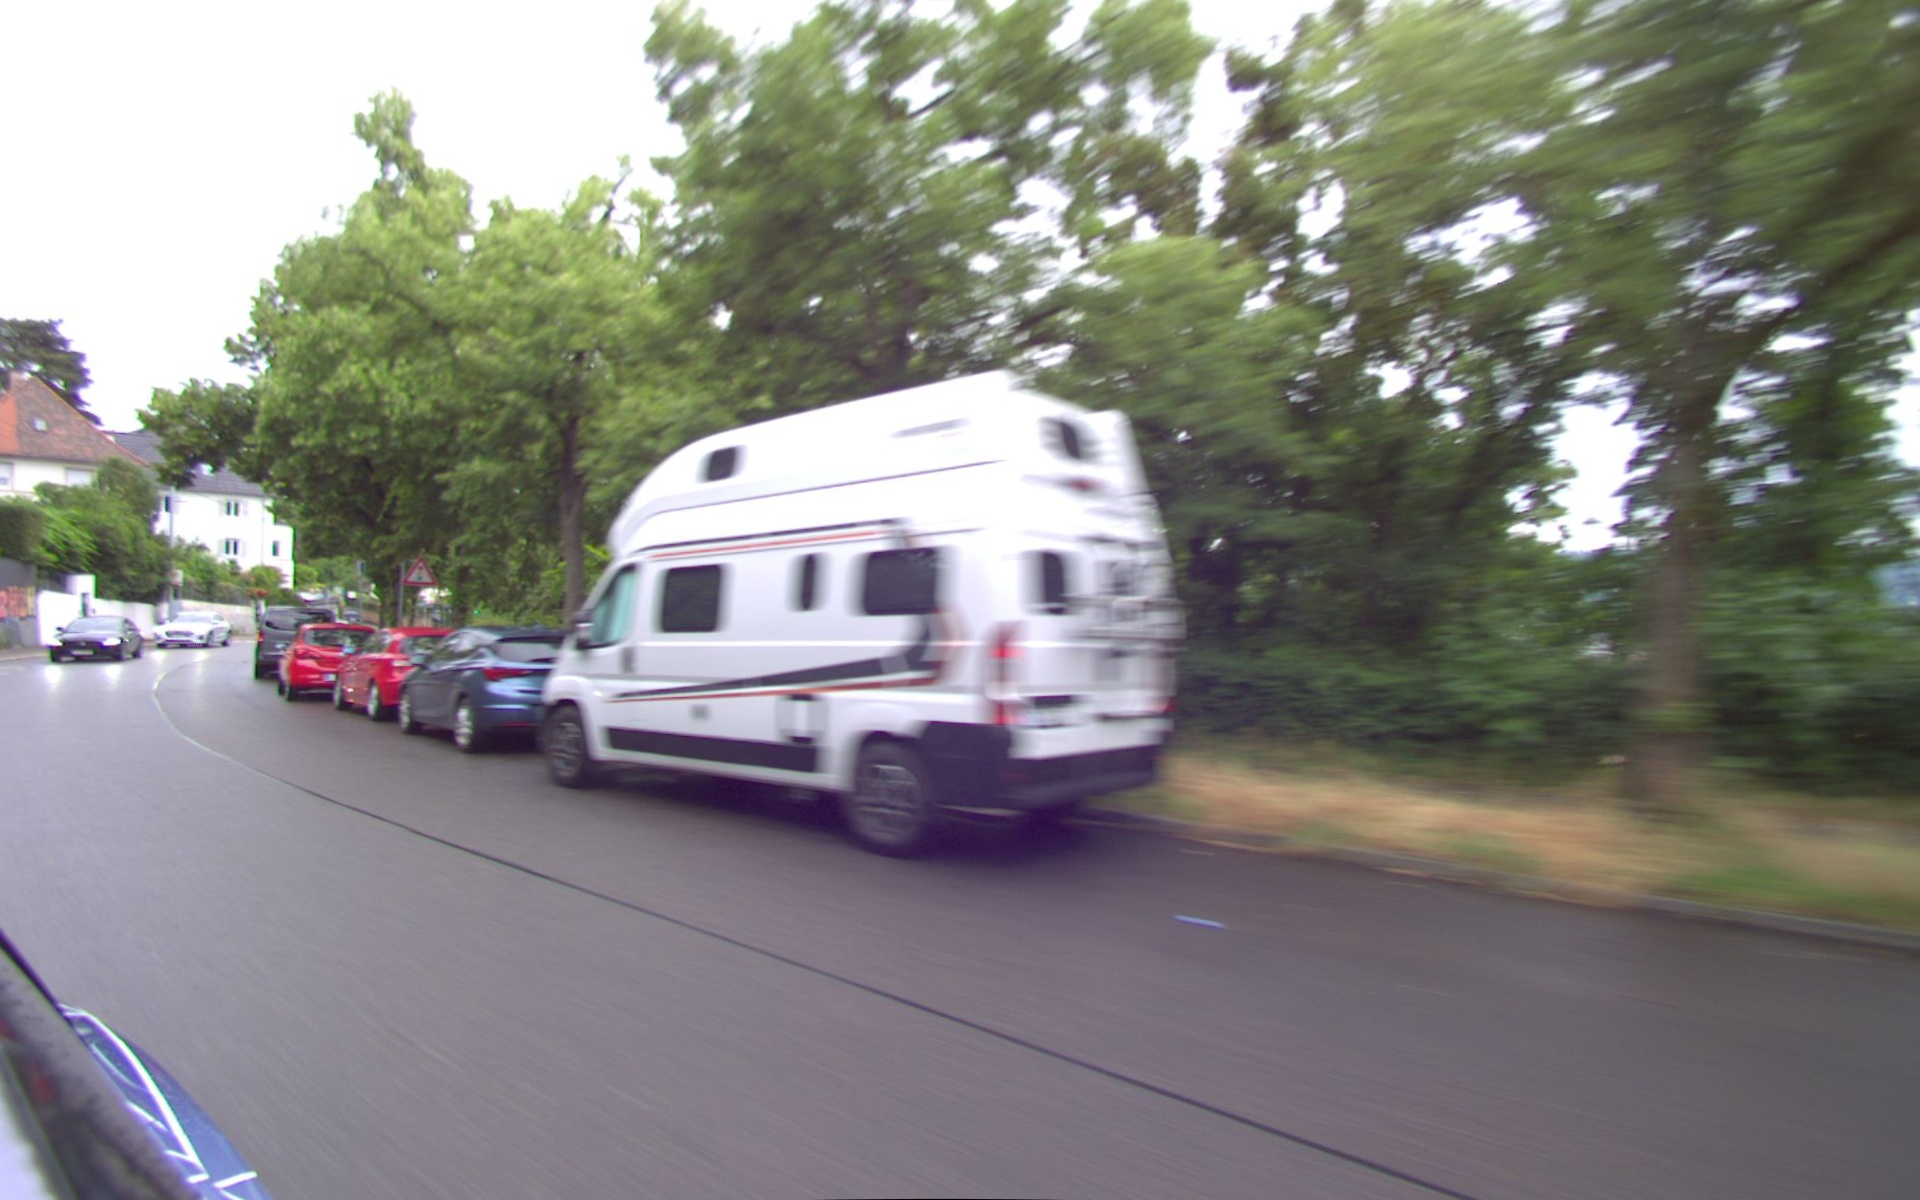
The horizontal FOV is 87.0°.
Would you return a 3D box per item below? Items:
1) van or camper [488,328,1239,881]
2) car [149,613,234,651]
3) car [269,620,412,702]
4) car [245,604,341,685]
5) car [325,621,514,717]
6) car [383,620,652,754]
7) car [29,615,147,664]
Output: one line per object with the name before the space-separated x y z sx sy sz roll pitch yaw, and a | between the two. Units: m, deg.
van or camper | -1.239 0.079 8.659 6.557 3.050 2.480 0 -3 40
car | -35.210 1.472 46.483 1.997 1.641 4.241 1 -2 -21
car | -12.876 1.235 20.899 1.929 1.472 4.584 5 -5 -38
car | -18.748 1.257 28.510 1.928 1.983 5.015 6 -5 -33
car | -9.093 1.124 16.924 1.930 1.419 3.548 5 -5 -42
car | -5.778 1.034 12.938 1.930 1.419 4.214 5 -5 -41
car | -28.057 1.247 32.709 1.997 1.474 4.013 2 -2 -28
